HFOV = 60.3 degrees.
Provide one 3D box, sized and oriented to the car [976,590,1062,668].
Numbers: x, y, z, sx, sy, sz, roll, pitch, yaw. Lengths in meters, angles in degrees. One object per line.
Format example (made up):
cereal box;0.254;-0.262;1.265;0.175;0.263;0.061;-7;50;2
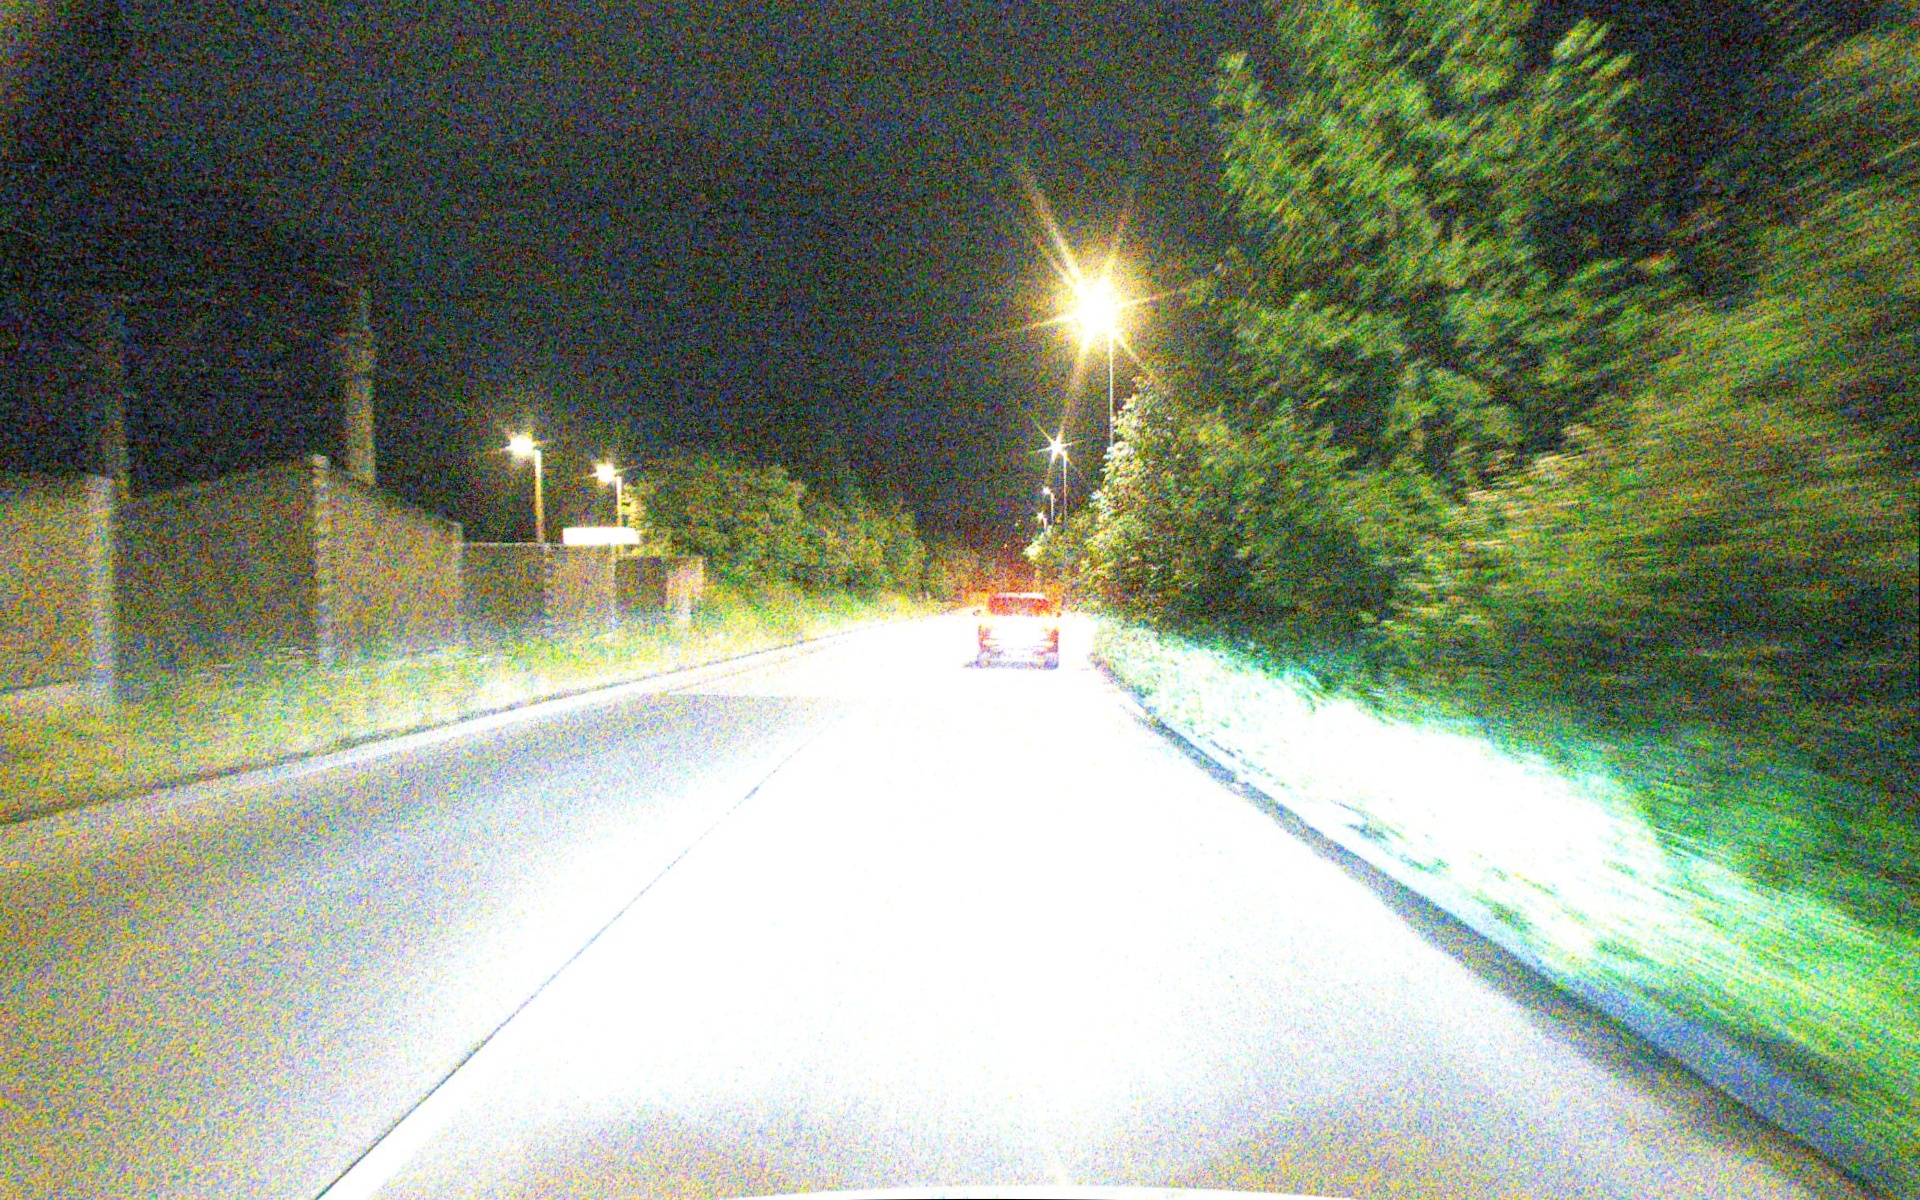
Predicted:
car;1.301;0.609;36.834;1.777;1.601;3.944;1;0;2
